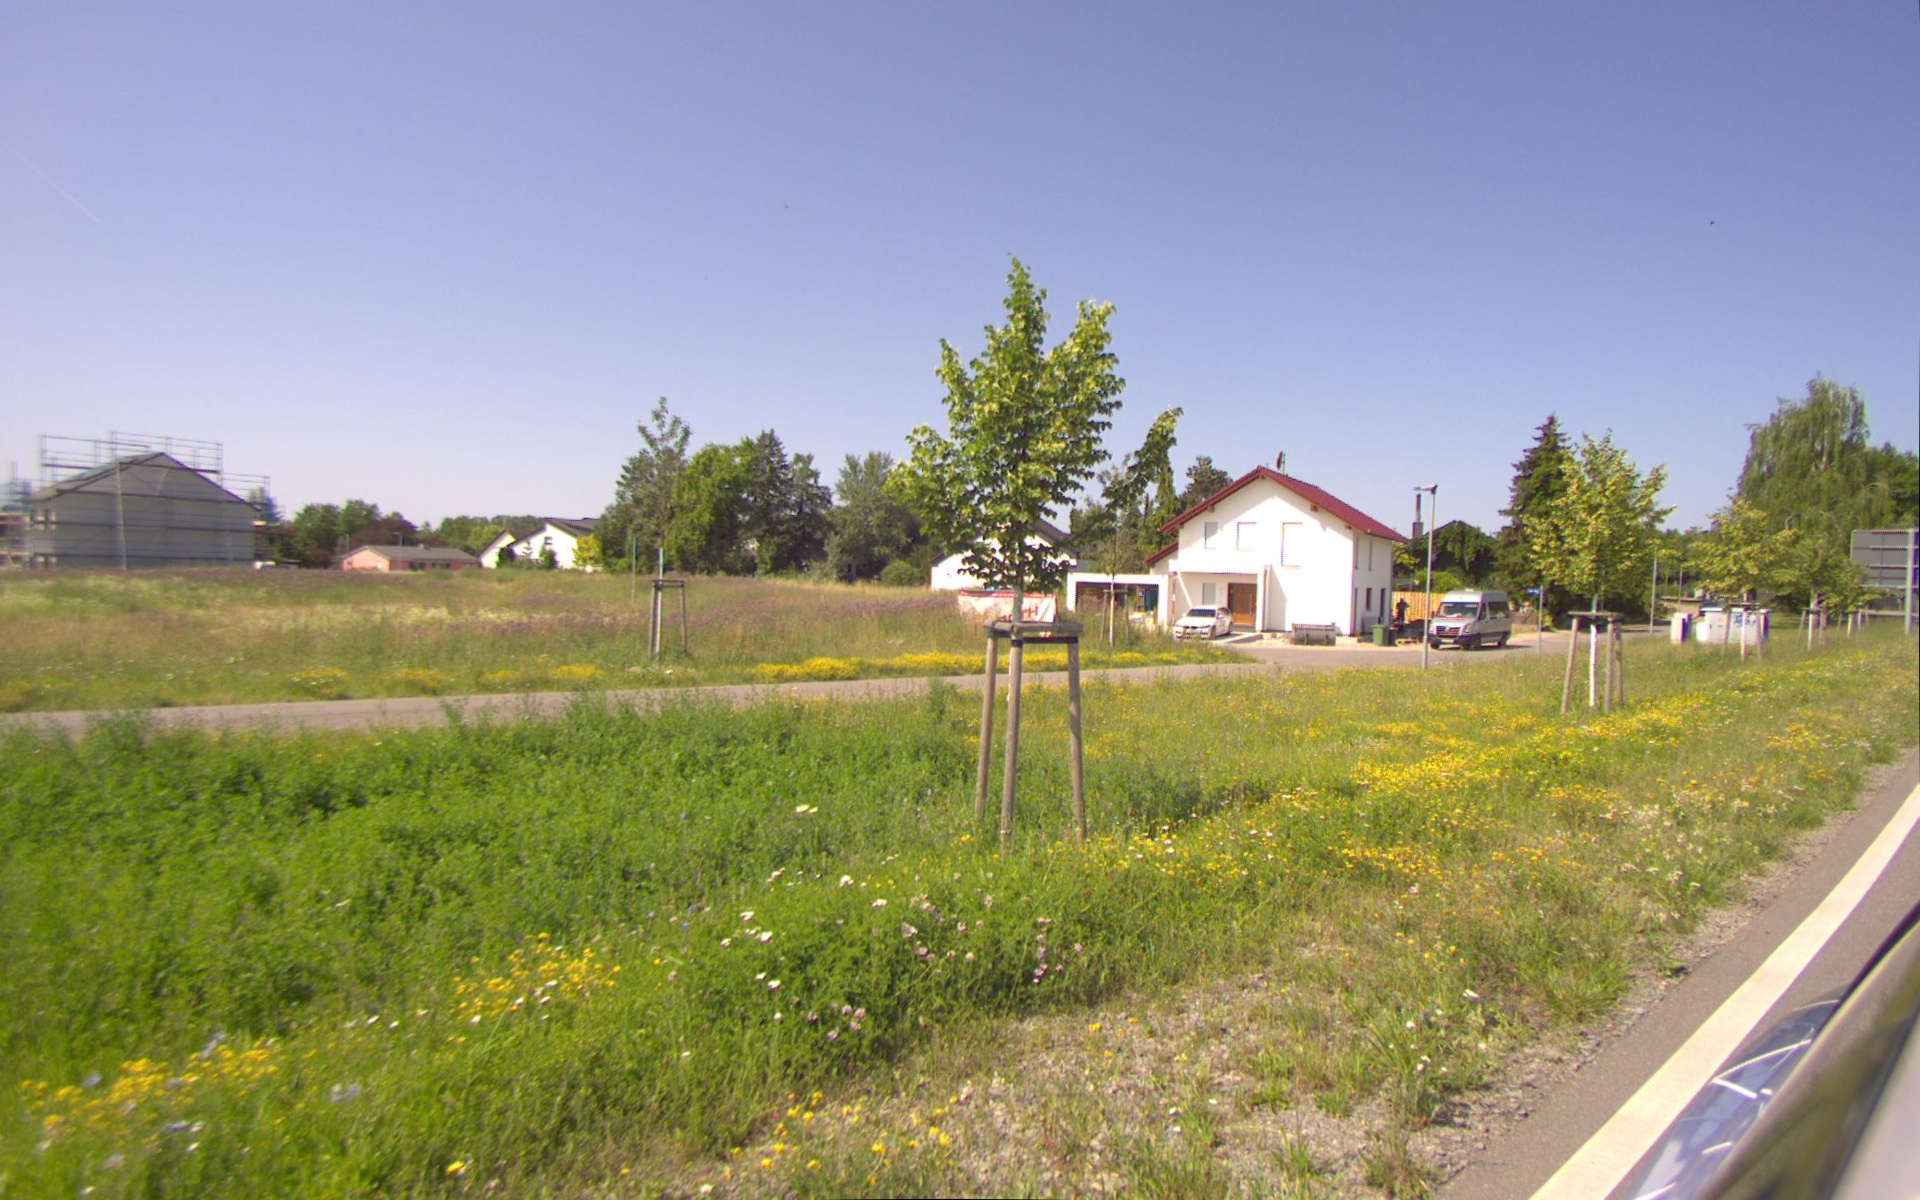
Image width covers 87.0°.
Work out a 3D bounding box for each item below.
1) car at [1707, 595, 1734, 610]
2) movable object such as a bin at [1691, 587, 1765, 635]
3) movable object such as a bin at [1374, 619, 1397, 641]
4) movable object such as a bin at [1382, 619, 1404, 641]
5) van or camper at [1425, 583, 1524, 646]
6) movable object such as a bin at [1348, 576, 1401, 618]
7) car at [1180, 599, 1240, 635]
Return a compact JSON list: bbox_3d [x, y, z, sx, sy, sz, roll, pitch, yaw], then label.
[{"bbox_3d":[77.316,0.245,102.857,1.857,1.463,4.105,0,1,42],"label":"car"},{"bbox_3d":[43.267,0.557,56.939,6.832,2.494,2.318,-1,1,-44],"label":"movable object such as a bin"},{"bbox_3d":[19.039,1.339,45.285,0.627,0.949,0.694,1,1,-39],"label":"movable object such as a bin"},{"bbox_3d":[19.558,1.331,45.725,0.627,0.949,0.694,1,1,-39],"label":"movable object such as a bin"},{"bbox_3d":[23.148,0.543,45.422,5.931,2.633,2.174,-1,1,-44],"label":"van or camper"},{"bbox_3d":[26.601,-0.212,64.992,2.835,2.589,1.780,1,0,13],"label":"movable object such as a bin"},{"bbox_3d":[11.838,0.779,47.733,1.551,1.577,4.438,0,0,31],"label":"car"}]
